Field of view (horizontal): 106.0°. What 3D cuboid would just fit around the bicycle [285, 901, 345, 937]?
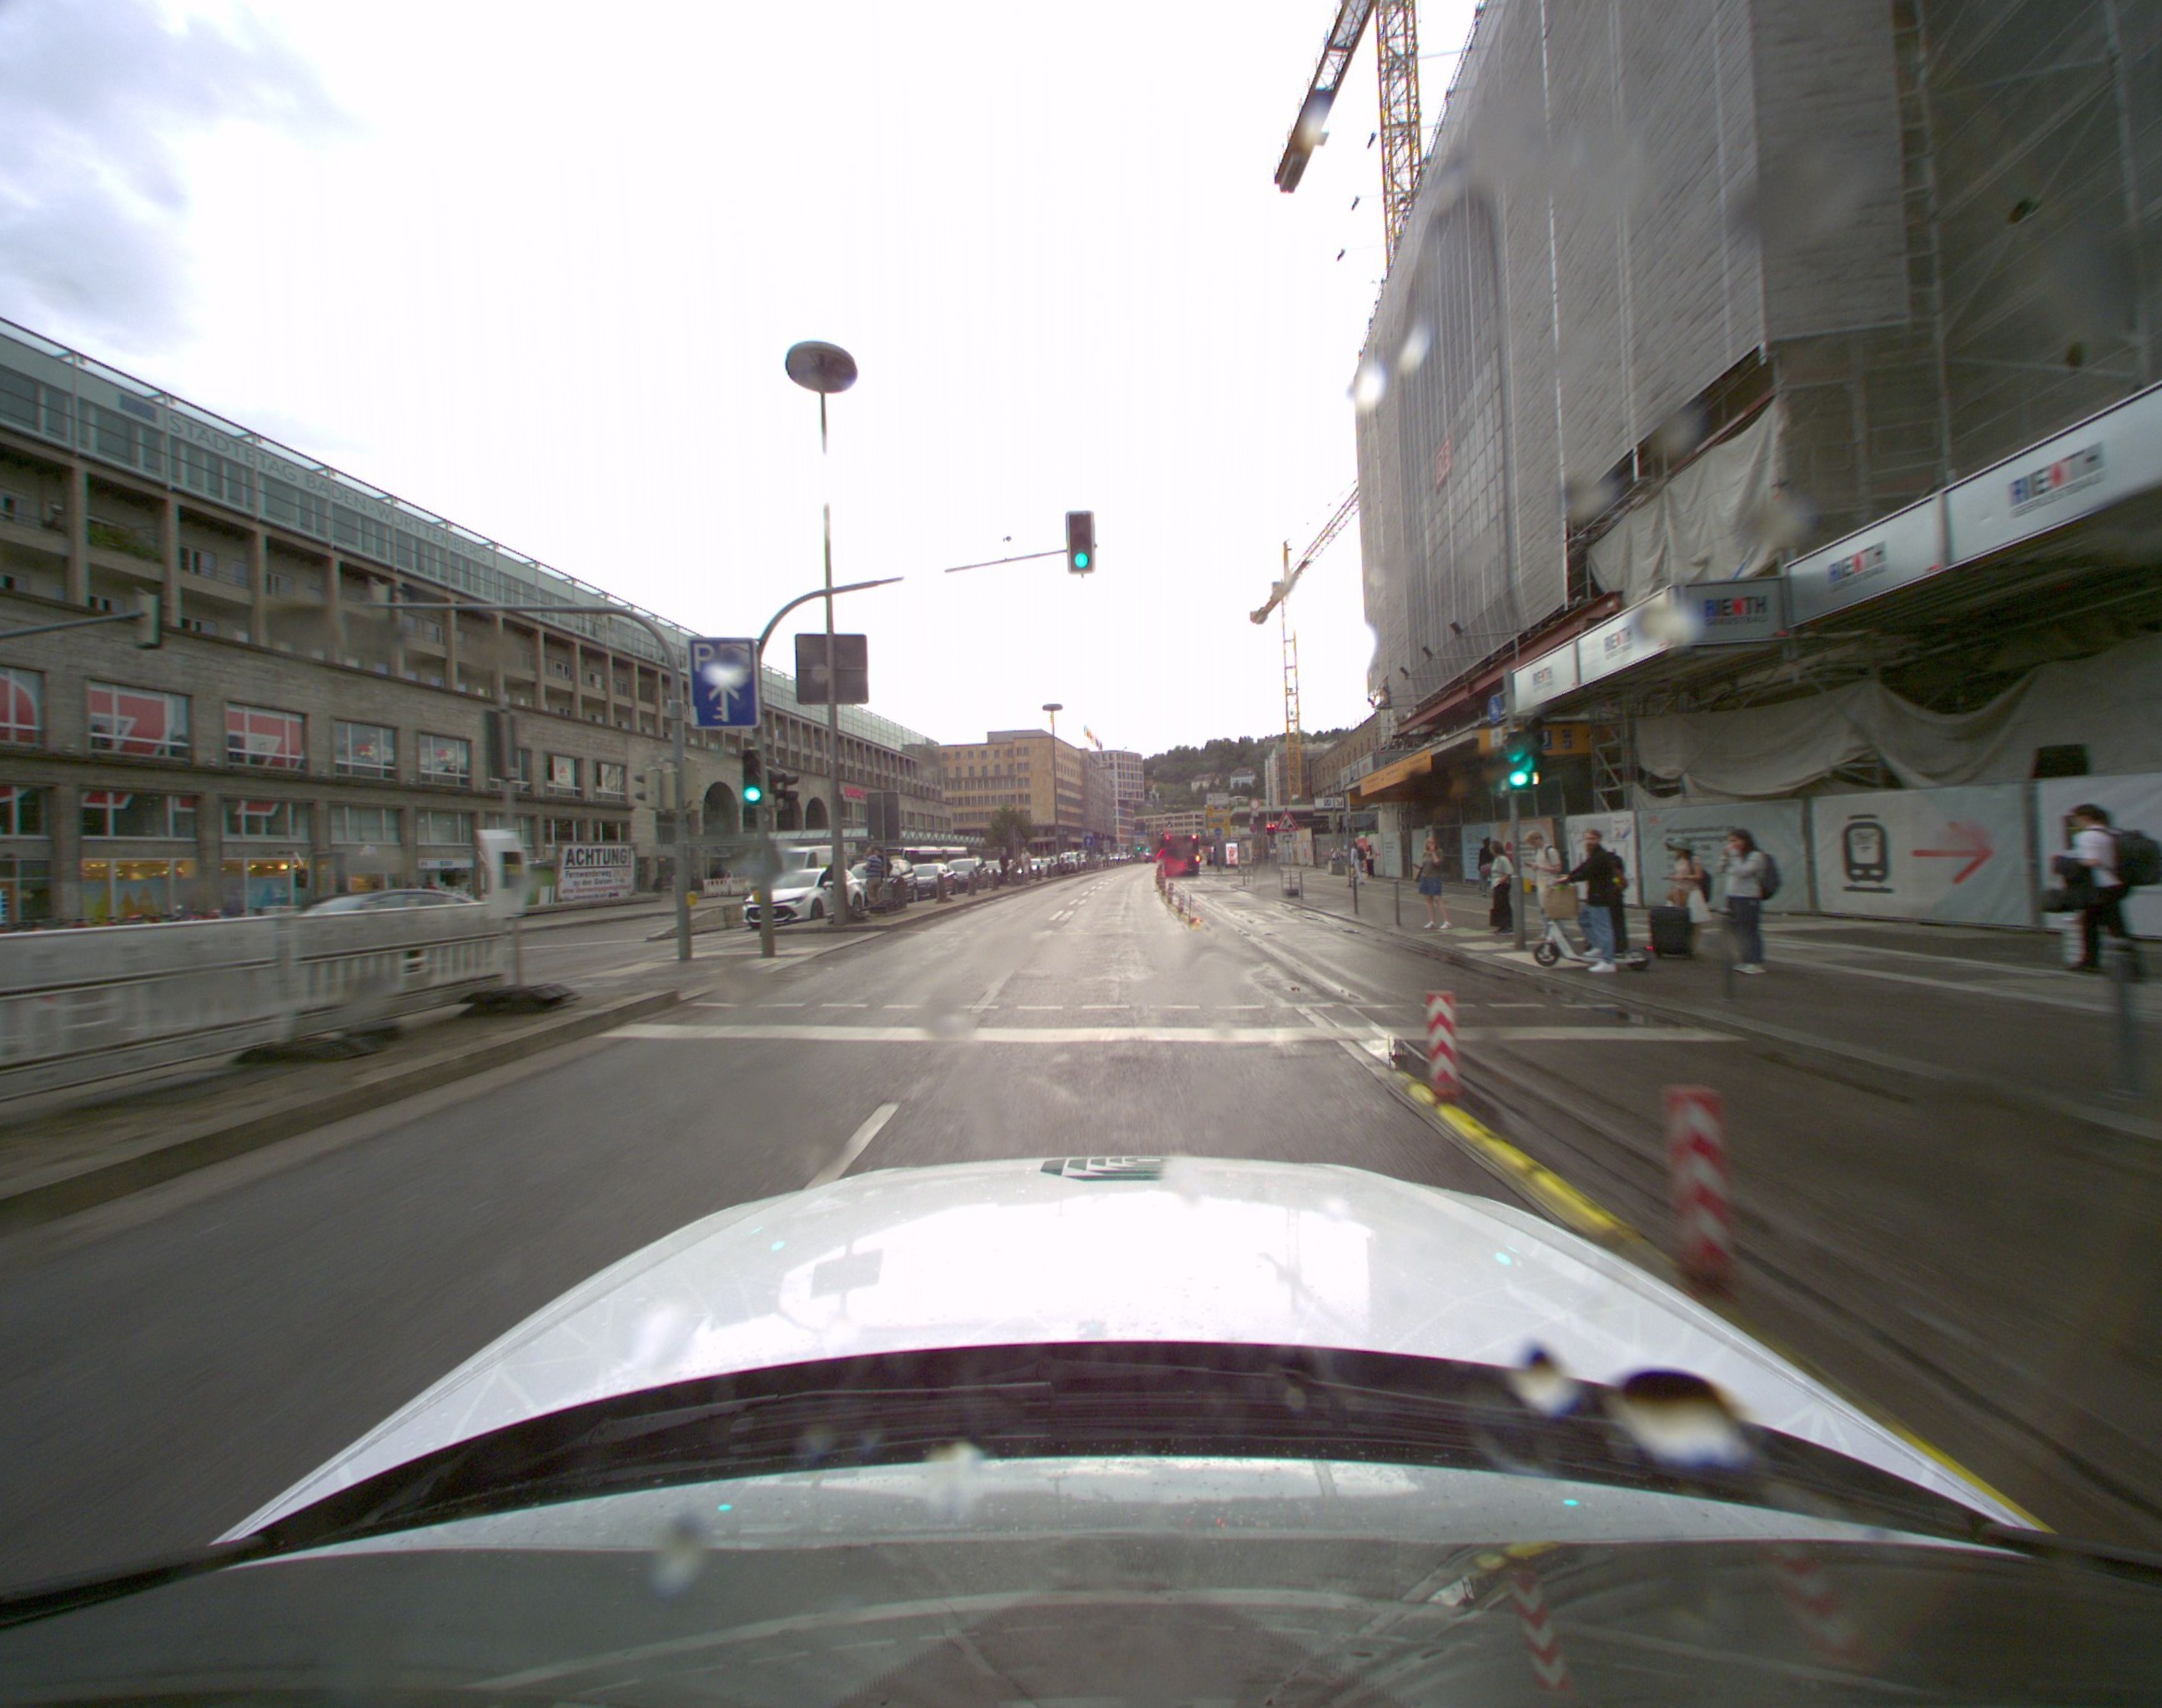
[{"bbox_3d":[-31.378,2.649,33.368,1.725,1.325,0.679,-2,0,-4],"label":"bicycle"}]

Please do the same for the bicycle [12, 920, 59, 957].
[{"bbox_3d":[-32.541,2.608,25.352,1.599,1.057,0.501,-1,0,24],"label":"bicycle"}]

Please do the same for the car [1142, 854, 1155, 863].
[{"bbox_3d":[11.631,0.746,140.327,1.982,1.552,4.009,-3,0,8],"label":"car"}]

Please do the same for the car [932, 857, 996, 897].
[{"bbox_3d":[-5.554,1.060,39.260,1.920,1.690,4.689,-4,-1,5],"label":"car"}]

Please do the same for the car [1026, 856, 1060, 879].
[{"bbox_3d":[-2.928,1.034,64.514,1.920,1.576,5.059,-4,-1,5],"label":"car"}]

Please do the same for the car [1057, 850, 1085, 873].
[{"bbox_3d":[-0.971,0.727,81.332,1.983,2.178,5.555,-3,0,7],"label":"car"}]

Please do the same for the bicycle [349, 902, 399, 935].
[{"bbox_3d":[-30.810,2.792,35.501,1.557,1.325,0.571,-2,0,-4],"label":"bicycle"}]

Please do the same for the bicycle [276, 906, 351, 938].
[{"bbox_3d":[-27.927,2.472,29.635,2.083,1.056,0.596,-1,0,-2],"label":"bicycle"}]

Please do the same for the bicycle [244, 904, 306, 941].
[{"bbox_3d":[-31.440,2.651,31.777,1.663,1.325,0.679,-2,0,-4],"label":"bicycle"}]

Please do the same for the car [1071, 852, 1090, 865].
[{"bbox_3d":[-0.071,0.547,99.715,1.985,1.552,4.004,-3,0,4],"label":"car"}]

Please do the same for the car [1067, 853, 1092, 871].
[{"bbox_3d":[-0.109,0.852,86.734,1.982,1.722,4.792,-3,0,8],"label":"car"}]

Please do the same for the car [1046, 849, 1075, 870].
[{"bbox_3d":[-1.835,0.490,75.674,1.919,1.806,4.591,-4,-1,7],"label":"car"}]

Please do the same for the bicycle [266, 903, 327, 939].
[{"bbox_3d":[-31.371,2.658,32.587,1.663,1.325,0.679,-2,0,-4],"label":"bicycle"}]

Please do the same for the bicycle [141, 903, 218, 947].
[{"bbox_3d":[-33.149,2.586,29.990,1.784,1.434,0.673,-1,0,-37],"label":"bicycle"}]

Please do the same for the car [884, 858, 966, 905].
[{"bbox_3d":[-6.263,1.052,33.276,1.920,1.690,4.689,-4,-1,5],"label":"car"}]

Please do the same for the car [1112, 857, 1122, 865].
[{"bbox_3d":[8.382,1.606,190.764,1.952,1.564,4.844,-4,0,6],"label":"car"}]

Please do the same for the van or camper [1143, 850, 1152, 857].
[{"bbox_3d":[19.668,-0.241,240.596,1.981,2.013,5.203,-2,0,10],"label":"van or camper"}]

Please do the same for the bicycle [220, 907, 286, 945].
[{"bbox_3d":[-31.311,2.712,30.814,1.663,1.325,0.679,-2,0,-4],"label":"bicycle"}]

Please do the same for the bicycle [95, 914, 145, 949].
[{"bbox_3d":[-31.990,2.564,27.111,1.592,1.110,0.435,-1,0,16],"label":"bicycle"}]

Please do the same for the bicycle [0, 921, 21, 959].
[{"bbox_3d":[-32.852,2.590,24.683,1.600,1.057,0.427,-1,0,21],"label":"bicycle"}]

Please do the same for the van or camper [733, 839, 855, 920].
[{"bbox_3d":[-10.224,0.829,29.584,1.984,2.514,5.377,-5,0,4],"label":"van or camper"}]

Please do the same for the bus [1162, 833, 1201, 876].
[{"bbox_3d":[7.710,0.050,62.614,2.741,3.069,9.097,-1,0,7],"label":"bus"}]

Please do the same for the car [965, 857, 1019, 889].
[{"bbox_3d":[-4.962,1.008,46.134,1.920,1.576,5.269,-4,-1,5],"label":"car"}]

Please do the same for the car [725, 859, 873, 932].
[{"bbox_3d":[-7.458,1.029,22.137,2.006,1.621,4.847,-2,0,4],"label":"car"}]

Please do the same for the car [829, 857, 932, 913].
[{"bbox_3d":[-6.827,1.005,28.311,1.920,1.690,4.689,-4,-1,5],"label":"car"}]

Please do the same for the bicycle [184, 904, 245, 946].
[{"bbox_3d":[-31.499,2.567,29.602,1.482,1.434,0.565,-1,0,-6],"label":"bicycle"}]

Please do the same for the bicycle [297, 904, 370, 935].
[{"bbox_3d":[-27.862,2.437,30.381,2.083,1.077,0.596,-1,0,-2],"label":"bicycle"}]

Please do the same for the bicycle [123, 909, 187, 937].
[{"bbox_3d":[-31.943,2.373,28.125,0.677,0.850,1.379,-1,0,-6],"label":"bicycle"}]

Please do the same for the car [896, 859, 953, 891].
[{"bbox_3d":[-9.195,1.209,48.214,1.920,1.690,4.689,-4,-1,5],"label":"car"}]

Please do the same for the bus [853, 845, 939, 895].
[{"bbox_3d":[-13.720,1.098,61.561,2.862,3.376,10.594,-2,0,7],"label":"bus"}]

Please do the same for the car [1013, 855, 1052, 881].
[{"bbox_3d":[-3.448,0.964,58.740,1.967,1.659,5.200,-4,-1,5],"label":"car"}]

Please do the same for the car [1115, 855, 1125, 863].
[{"bbox_3d":[8.735,1.184,182.119,1.952,1.564,4.844,-4,0,6],"label":"car"}]

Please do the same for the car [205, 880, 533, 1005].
[{"bbox_3d":[-11.647,1.348,13.779,1.806,1.610,4.048,-1,0,3],"label":"car"}]

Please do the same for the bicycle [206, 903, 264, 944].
[{"bbox_3d":[-31.370,2.559,30.202,1.482,1.434,0.513,-1,0,-6],"label":"bicycle"}]

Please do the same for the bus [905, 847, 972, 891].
[{"bbox_3d":[-12.413,1.209,72.225,2.862,3.459,10.594,-2,0,7],"label":"bus"}]
